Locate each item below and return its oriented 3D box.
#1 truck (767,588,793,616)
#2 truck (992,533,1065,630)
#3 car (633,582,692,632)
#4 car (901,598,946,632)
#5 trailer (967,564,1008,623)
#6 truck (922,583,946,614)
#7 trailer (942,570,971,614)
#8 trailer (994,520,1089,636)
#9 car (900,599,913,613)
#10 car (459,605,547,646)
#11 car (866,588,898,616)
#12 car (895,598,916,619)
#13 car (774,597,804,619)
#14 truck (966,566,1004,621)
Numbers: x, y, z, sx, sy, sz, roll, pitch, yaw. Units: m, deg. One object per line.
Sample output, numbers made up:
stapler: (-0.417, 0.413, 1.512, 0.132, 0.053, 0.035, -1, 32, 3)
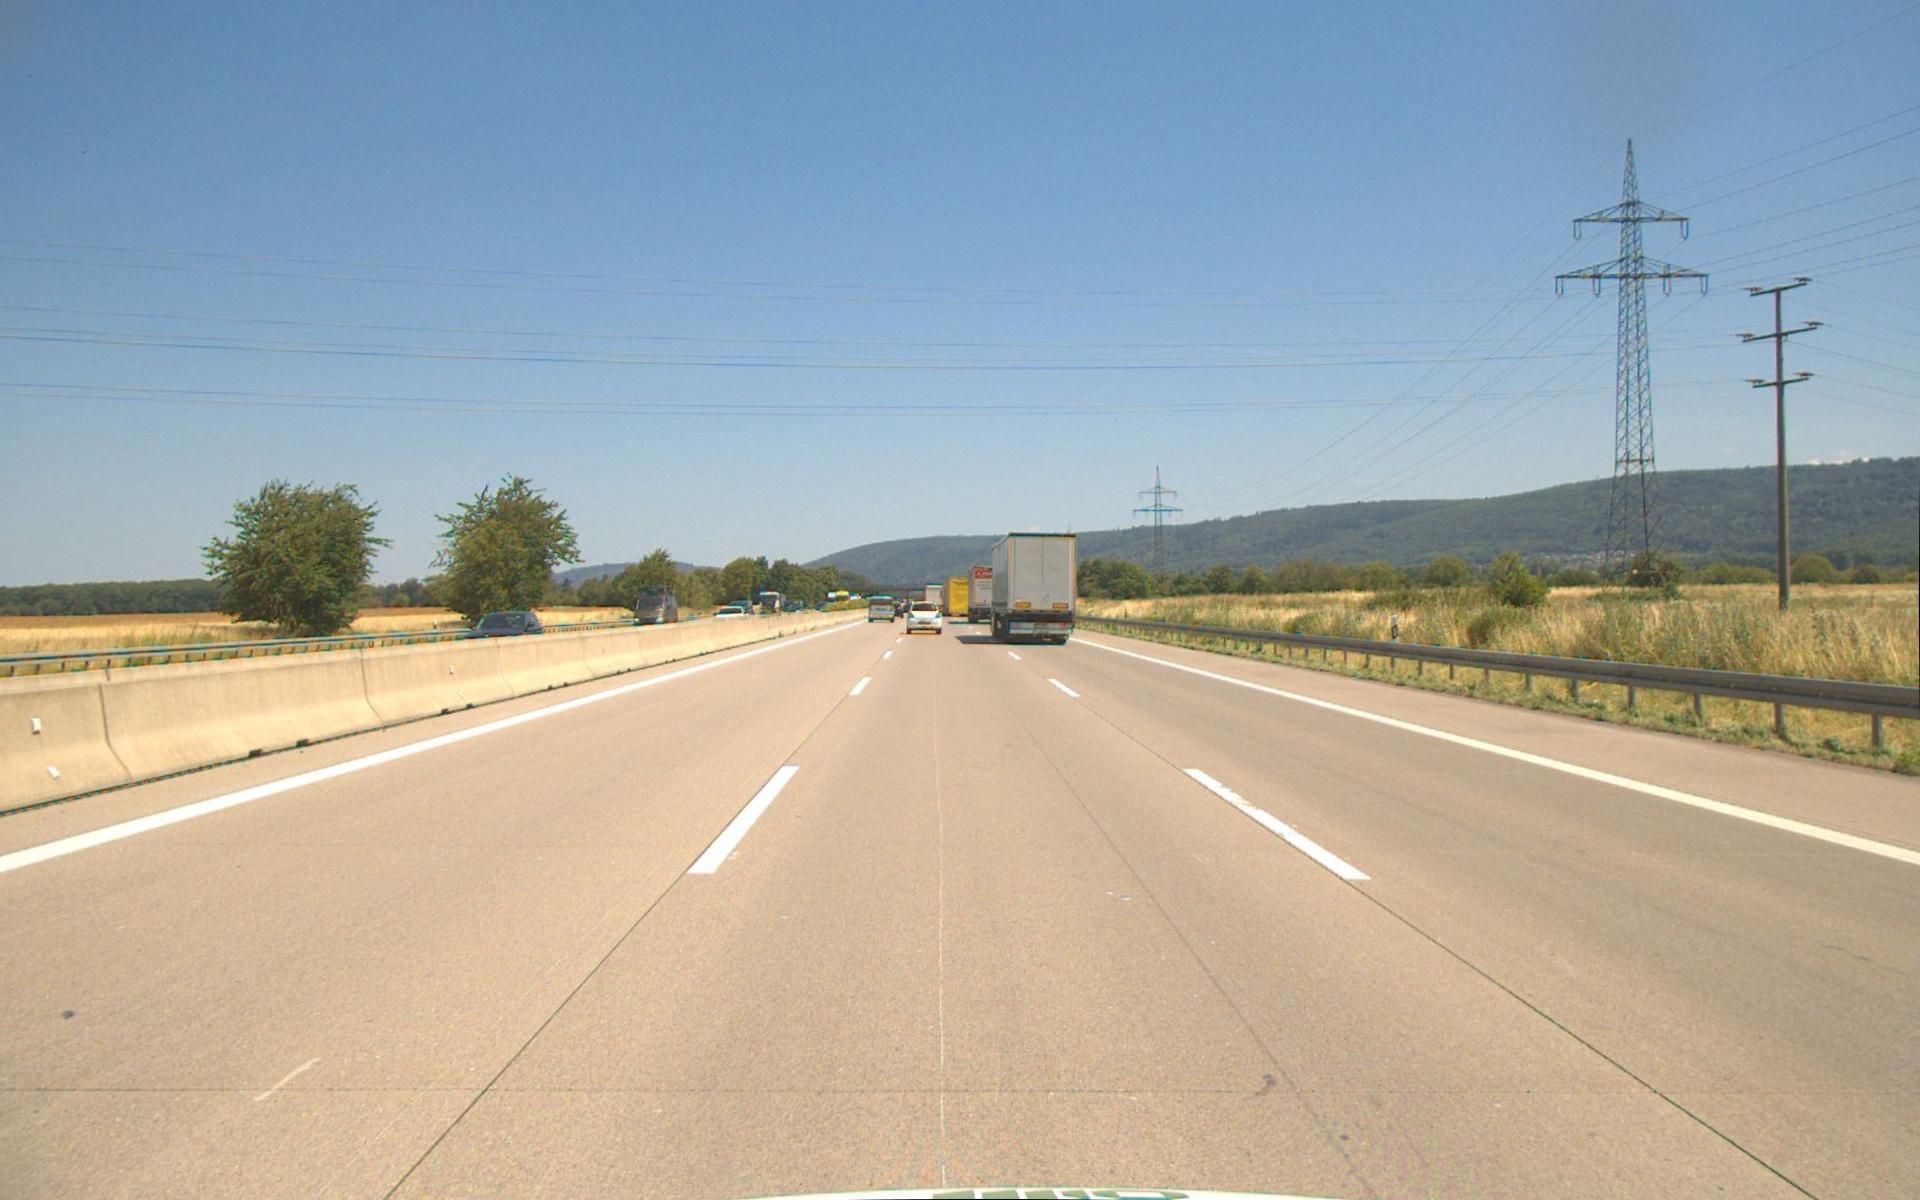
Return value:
truck: (-22.739, 0.242, 208.879, 2.749, 3.362, 5.612, 1, 0, -1)
truck: (3.029, -0.804, 74.516, 2.923, 4.133, 5.477, 1, 0, -1)
car: (-17.719, 0.407, 98.841, 2.202, 2.835, 6.791, 1, 0, 0)
car: (-1.738, 0.695, 80.027, 2.064, 1.563, 4.122, 1, 0, 0)
trailer: (1.983, -0.476, 124.286, 2.815, 4.172, 13.511, 1, 0, 0)
truck: (-3.809, -0.245, 241.913, 3.285, 4.347, 8.227, 1, 0, -1)
trailer: (-0.453, -0.858, 185.591, 3.150, 4.643, 13.454, 1, 0, -1)
trailer: (3.094, -0.796, 67.059, 2.956, 4.132, 14.204, 1, 0, -1)
car: (-7.684, 0.854, 238.779, 1.747, 1.914, 3.999, 1, 0, -1)
car: (-13.055, 0.722, 47.420, 1.490, 1.071, 3.523, 1, 0, 0)
car: (-5.848, 0.128, 124.519, 2.208, 2.049, 4.297, 1, 0, 0)
car: (-5.138, 0.800, 156.230, 1.953, 1.991, 3.999, 1, 0, -1)
car: (-14.719, 0.686, 142.810, 1.953, 1.858, 5.824, 1, 0, 0)
truck: (1.956, -0.472, 130.586, 2.846, 4.172, 6.271, 1, 0, 0)
